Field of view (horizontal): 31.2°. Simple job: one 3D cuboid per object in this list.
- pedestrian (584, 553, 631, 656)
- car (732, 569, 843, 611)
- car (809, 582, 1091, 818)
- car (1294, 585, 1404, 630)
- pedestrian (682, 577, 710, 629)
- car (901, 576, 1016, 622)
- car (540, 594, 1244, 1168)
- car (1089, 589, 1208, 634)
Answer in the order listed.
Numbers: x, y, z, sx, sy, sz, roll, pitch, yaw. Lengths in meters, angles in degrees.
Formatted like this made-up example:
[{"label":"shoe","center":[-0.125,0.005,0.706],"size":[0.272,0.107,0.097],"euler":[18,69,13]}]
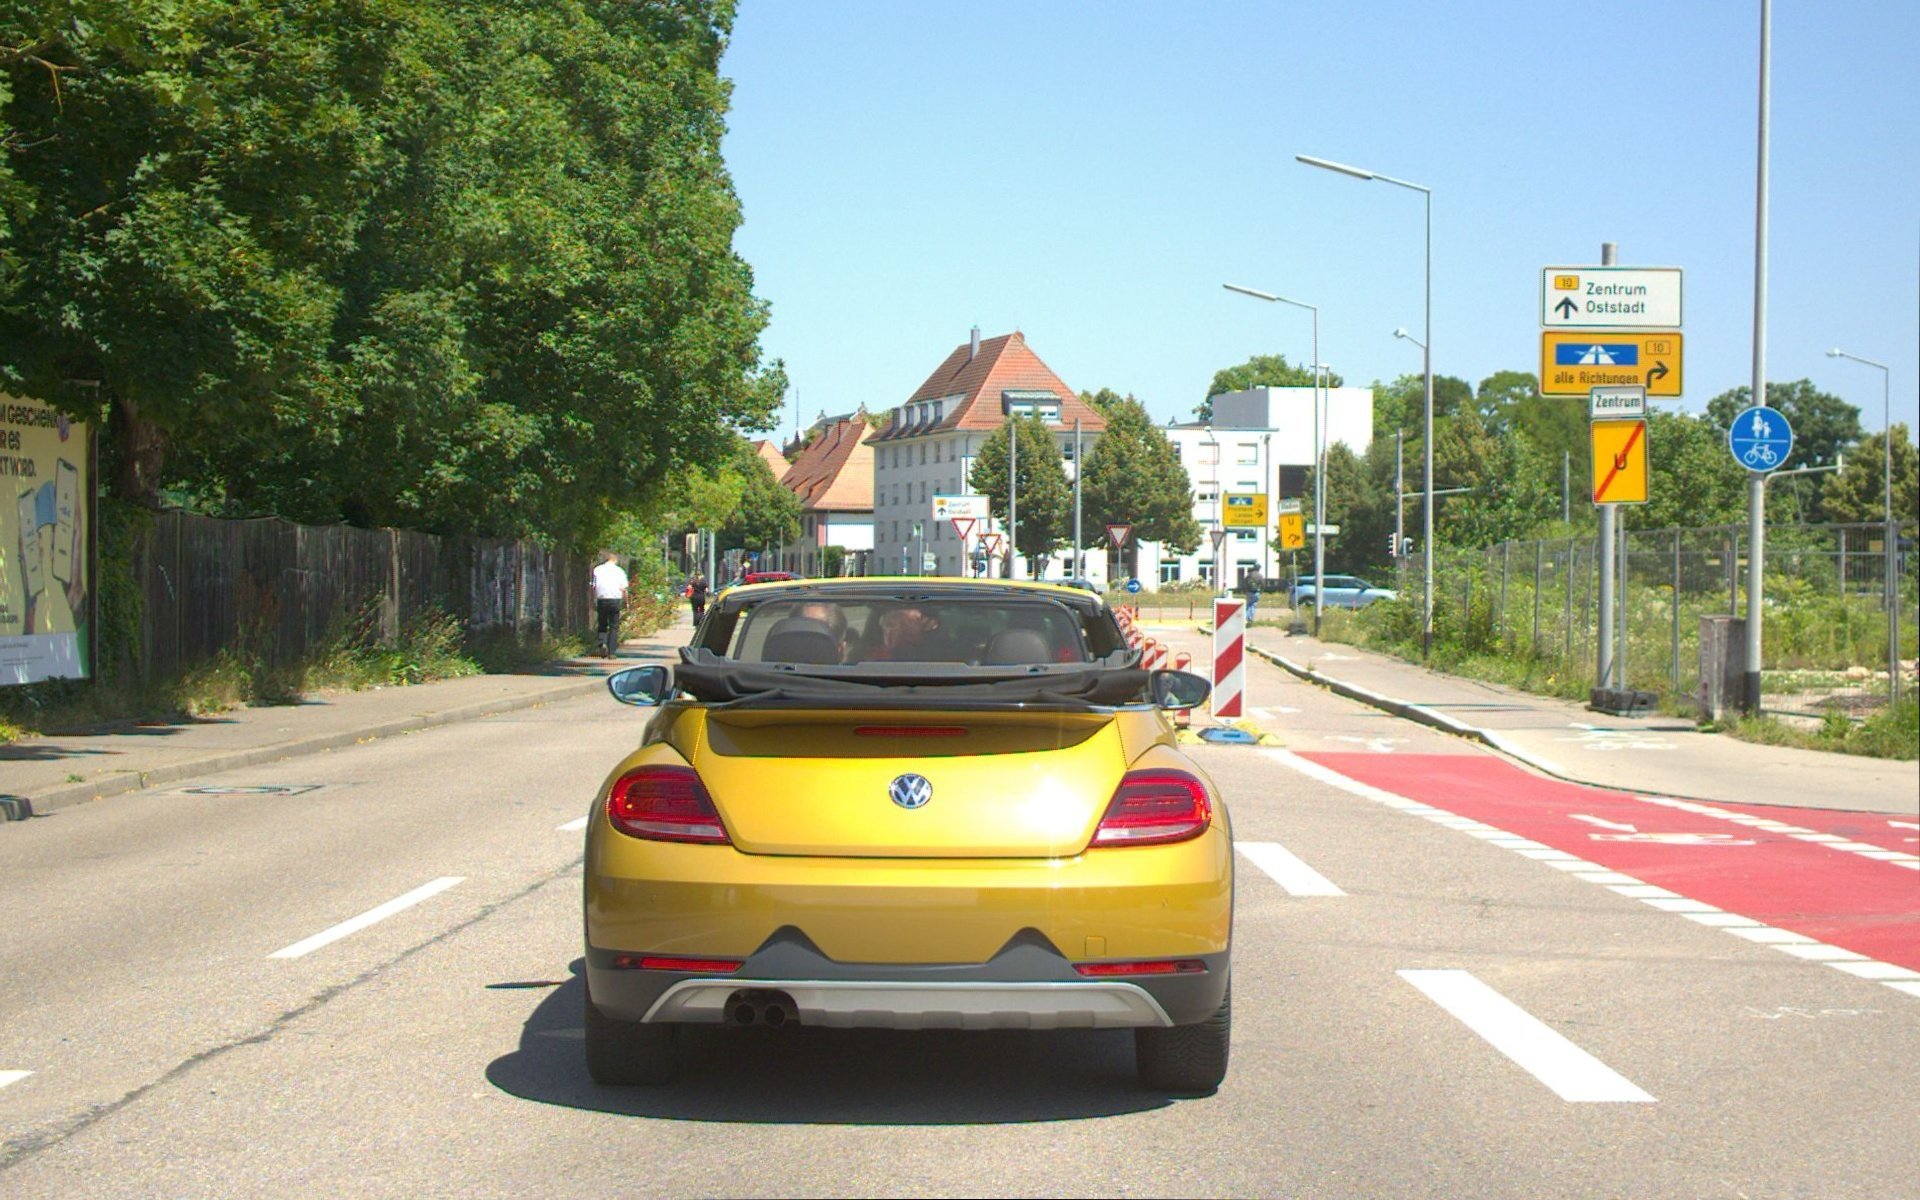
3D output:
[{"label":"pedestrian","center":[-5.956,0.075,58.107],"size":[0.722,1.719,0.818],"euler":[0,0,-2]},{"label":"car","center":[-6.921,-0.419,138.060],"size":[4.066,1.671,1.783],"euler":[0,0,15]},{"label":"car","center":[0.014,0.606,23.065],"size":[1.727,1.438,4.000],"euler":[0,0,2]},{"label":"car","center":[14.608,0.258,129.077],"size":[3.988,1.548,1.992],"euler":[2,1,9]},{"label":"pedestrian","center":[-7.409,0.076,96.482],"size":[0.722,1.449,0.818],"euler":[0,0,-2]},{"label":"car","center":[-0.049,-0.045,127.806],"size":[4.065,1.671,1.784],"euler":[0,0,10]},{"label":"car","center":[-0.160,0.713,10.662],"size":[1.790,1.432,3.814],"euler":[0,0,0]},{"label":"car","center":[6.693,0.400,122.234],"size":[3.989,1.607,1.790],"euler":[0,0,12]}]
